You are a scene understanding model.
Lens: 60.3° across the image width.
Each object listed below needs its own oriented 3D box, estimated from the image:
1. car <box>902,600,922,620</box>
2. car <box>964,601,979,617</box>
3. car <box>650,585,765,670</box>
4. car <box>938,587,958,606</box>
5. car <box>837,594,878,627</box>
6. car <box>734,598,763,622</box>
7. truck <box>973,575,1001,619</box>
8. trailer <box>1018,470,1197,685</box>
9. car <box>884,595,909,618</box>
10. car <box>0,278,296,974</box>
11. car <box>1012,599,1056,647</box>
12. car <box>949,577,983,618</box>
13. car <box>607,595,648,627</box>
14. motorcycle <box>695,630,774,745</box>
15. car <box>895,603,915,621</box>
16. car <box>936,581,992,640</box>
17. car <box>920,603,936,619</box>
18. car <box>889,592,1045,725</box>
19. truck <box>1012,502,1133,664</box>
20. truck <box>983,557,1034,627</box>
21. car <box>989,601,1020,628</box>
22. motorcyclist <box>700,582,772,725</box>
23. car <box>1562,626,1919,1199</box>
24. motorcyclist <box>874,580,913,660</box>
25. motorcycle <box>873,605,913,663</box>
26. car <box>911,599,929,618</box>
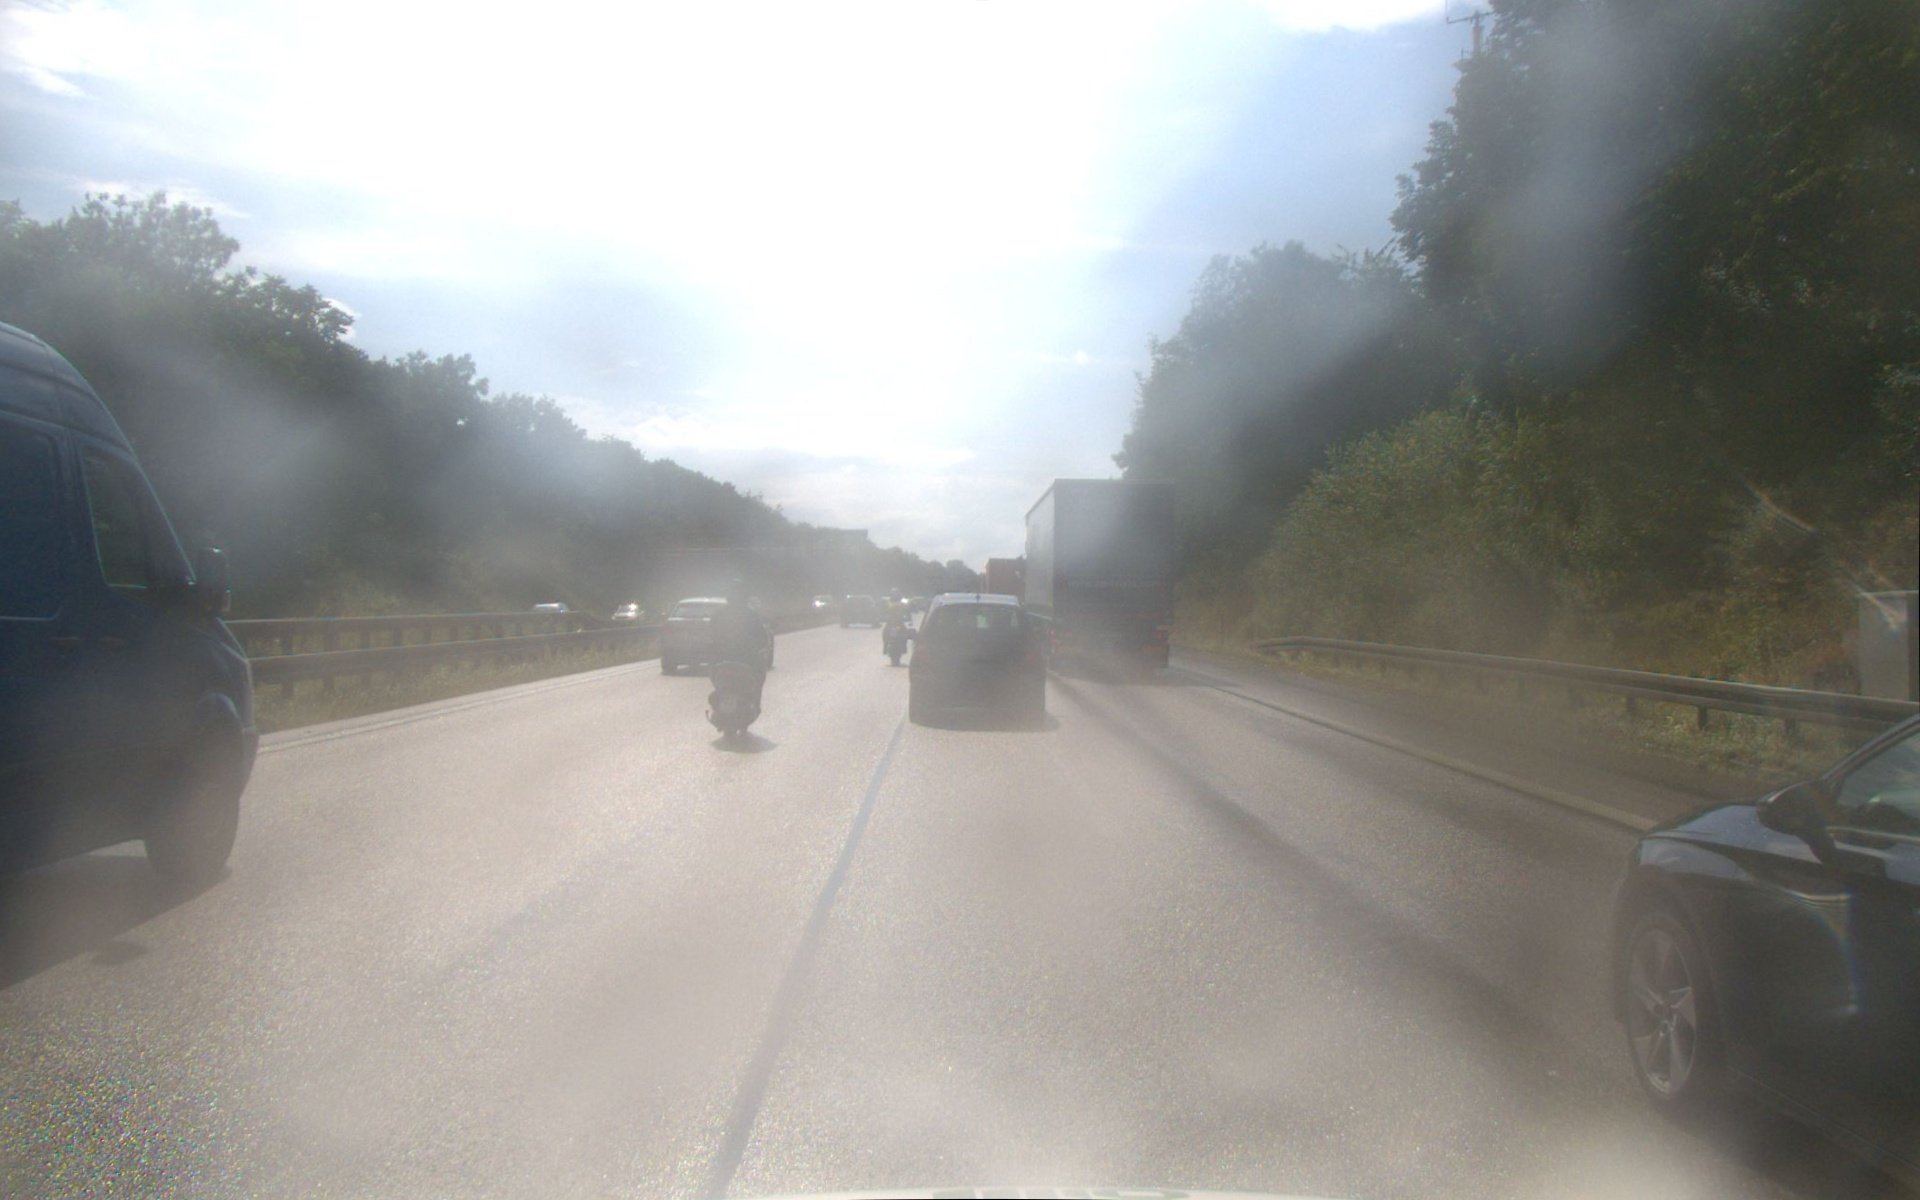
[{"bbox_3d":[-4.923,1.056,170.890,1.953,2.049,3.999,1,-1,-1],"label":"car"},{"bbox_3d":[1.598,1.258,226.759,1.953,2.049,3.999,1,-1,-1],"label":"car"},{"bbox_3d":[-5.104,0.532,33.920,1.722,1.622,4.330,1,0,-1],"label":"car"},{"bbox_3d":[-0.993,-0.287,133.038,1.598,1.516,3.436,1,0,-1],"label":"car"},{"bbox_3d":[-5.275,0.549,85.464,1.854,1.656,4.194,1,0,-1],"label":"car"},{"bbox_3d":[-17.802,0.821,139.154,1.885,1.945,4.288,0,0,0],"label":"car"},{"bbox_3d":[2.950,-0.290,184.396,2.823,4.769,12.657,1,0,0],"label":"truck"},{"bbox_3d":[3.279,-0.454,41.117,3.025,4.388,14.102,1,0,-1],"label":"trailer"},{"bbox_3d":[-4.550,0.460,118.702,1.641,1.625,3.436,1,0,-1],"label":"car"},{"bbox_3d":[-4.705,0.096,6.507,1.975,2.695,5.774,1,0,-2],"label":"car"},{"bbox_3d":[3.324,1.029,74.988,1.811,2.049,4.087,1,-1,0],"label":"car"},{"bbox_3d":[0.266,-0.104,82.609,1.641,1.970,3.773,1,0,-1],"label":"car"},{"bbox_3d":[-22.111,0.712,110.060,1.953,2.049,3.999,2,0,-1],"label":"car"},{"bbox_3d":[-2.377,0.897,17.626,0.662,1.106,1.980,1,0,-3],"label":"motorcycle"},{"bbox_3d":[-4.814,1.060,144.873,1.641,1.516,3.436,1,0,-1],"label":"car"},{"bbox_3d":[0.101,0.380,60.623,1.953,2.049,3.999,1,-1,-1],"label":"car"},{"bbox_3d":[-4.070,1.406,211.594,1.953,2.049,3.999,1,-1,-1],"label":"car"},{"bbox_3d":[0.068,0.715,22.237,1.876,1.592,4.313,1,0,-1],"label":"car"},{"bbox_3d":[3.180,-0.456,48.288,2.990,4.401,5.885,1,0,-1],"label":"truck"},{"bbox_3d":[3.182,-0.519,111.622,3.136,4.481,9.432,1,0,0],"label":"truck"},{"bbox_3d":[2.515,0.832,94.745,1.641,1.516,3.436,1,0,-1],"label":"car"},{"bbox_3d":[-2.378,0.556,17.639,0.657,1.467,1.019,1,-1,-3],"label":"motorcyclist"},{"bbox_3d":[2.997,0.806,3.632,1.719,1.421,4.367,1,0,-1],"label":"car"},{"bbox_3d":[-1.517,0.452,38.089,0.804,1.791,1.390,1,-1,0],"label":"motorcyclist"},{"bbox_3d":[-1.526,0.766,38.193,0.803,1.285,2.117,1,0,0],"label":"motorcycle"},{"bbox_3d":[-4.637,0.990,191.909,1.953,2.049,3.999,1,-1,-1],"label":"car"}]
